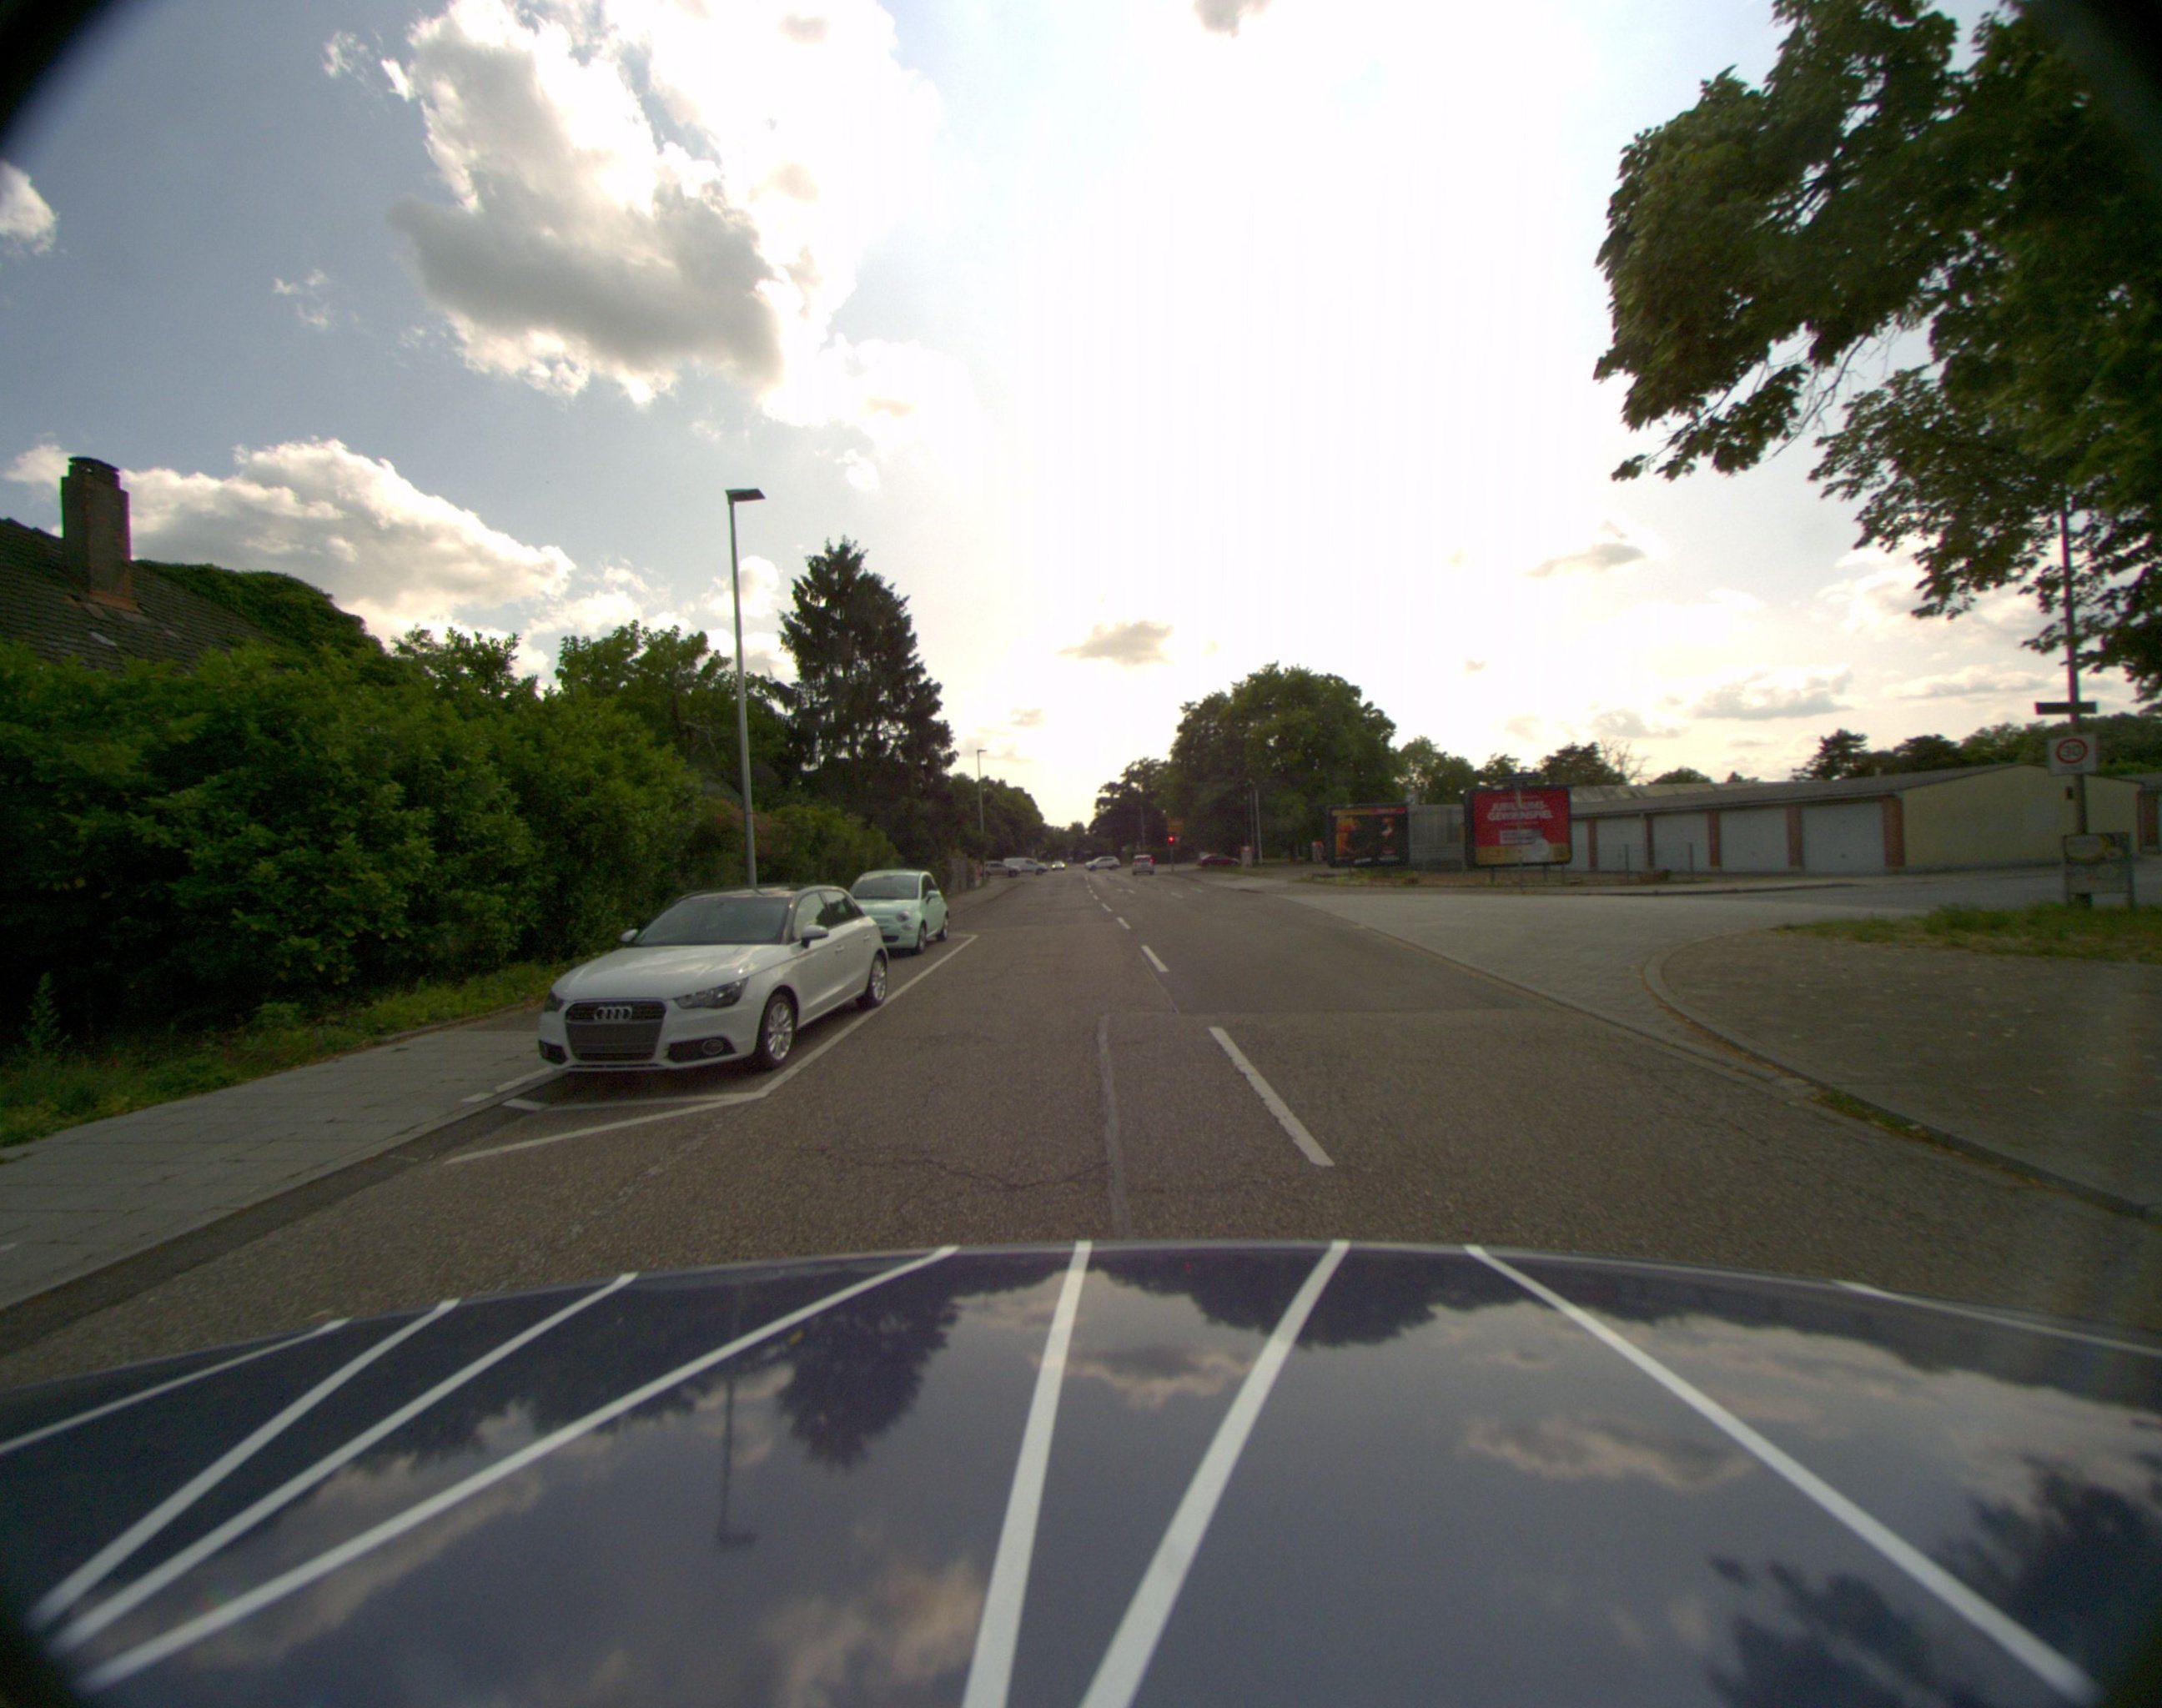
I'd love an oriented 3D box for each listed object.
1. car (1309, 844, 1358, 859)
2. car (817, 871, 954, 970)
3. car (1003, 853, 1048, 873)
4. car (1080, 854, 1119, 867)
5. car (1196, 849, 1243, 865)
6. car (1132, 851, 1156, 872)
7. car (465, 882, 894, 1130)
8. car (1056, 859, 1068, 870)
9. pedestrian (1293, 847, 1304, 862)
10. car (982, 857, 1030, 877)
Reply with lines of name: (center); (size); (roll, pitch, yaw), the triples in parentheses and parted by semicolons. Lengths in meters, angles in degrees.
car: (27.943, -0.288, 84.053); (4.874, 1.488, 1.800); (-1, 2, -13)
car: (-3.586, 1.153, 14.593); (1.585, 1.511, 3.755); (-2, 0, 0)
car: (-5.879, 0.942, 80.228); (4.536, 1.941, 1.727); (-2, 0, -11)
car: (2.294, 0.804, 94.390); (4.536, 1.454, 1.727); (-2, 0, -13)
car: (14.736, 0.284, 80.933); (4.537, 1.454, 1.726); (-2, 2, -13)
car: (4.967, 0.566, 60.162); (1.558, 1.508, 3.608); (-2, 0, 0)
car: (-3.159, 1.097, 6.963); (1.725, 1.477, 3.750); (-2, 0, 3)
car: (-2.807, 1.476, 111.911); (1.730, 1.421, 3.998); (-1, 2, -2)
pedestrian: (22.578, 0.081, 78.977); (0.761, 1.523, 0.726); (-2, 0, -29)
car: (-7.503, 1.257, 75.618); (4.536, 1.767, 1.727); (-2, 0, -11)
